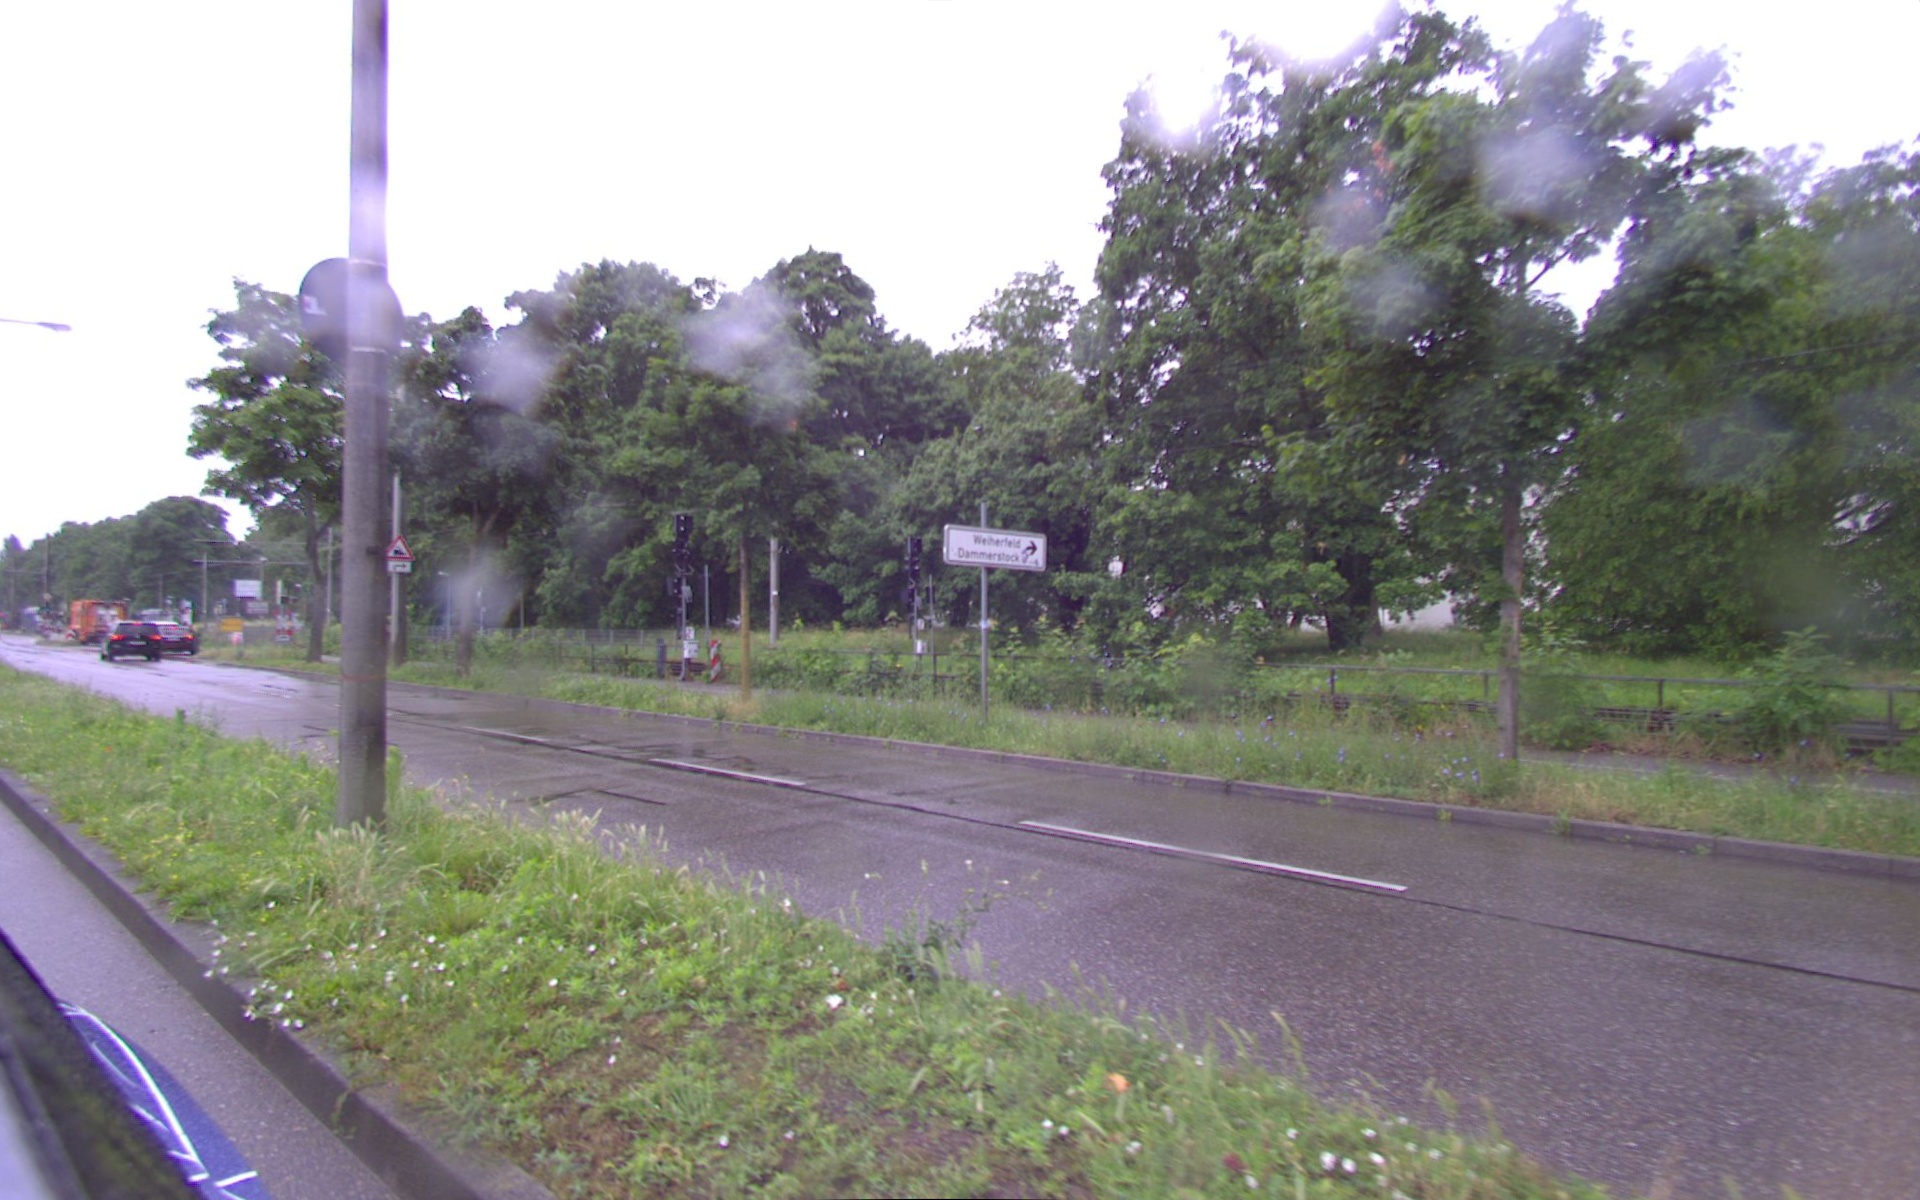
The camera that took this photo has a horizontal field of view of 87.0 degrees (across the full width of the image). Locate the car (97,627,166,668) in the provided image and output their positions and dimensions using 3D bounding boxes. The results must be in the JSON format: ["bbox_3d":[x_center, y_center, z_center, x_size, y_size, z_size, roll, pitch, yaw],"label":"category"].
[{"bbox_3d":[-34.899,1.965,42.584,4.332,1.654,1.687,-2,-3,44],"label":"car"}]

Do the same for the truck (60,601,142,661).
[{"bbox_3d":[-65.021,2.234,76.496,10.405,4.199,3.349,-1,0,42],"label":"truck"}]

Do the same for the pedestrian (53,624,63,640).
[{"bbox_3d":[-95.988,3.387,107.719,0.771,1.670,0.805,-1,0,-45],"label":"pedestrian"}]

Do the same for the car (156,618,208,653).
[{"bbox_3d":[-44.700,1.983,58.092,1.970,1.841,4.777,-1,0,-42],"label":"car"}]
